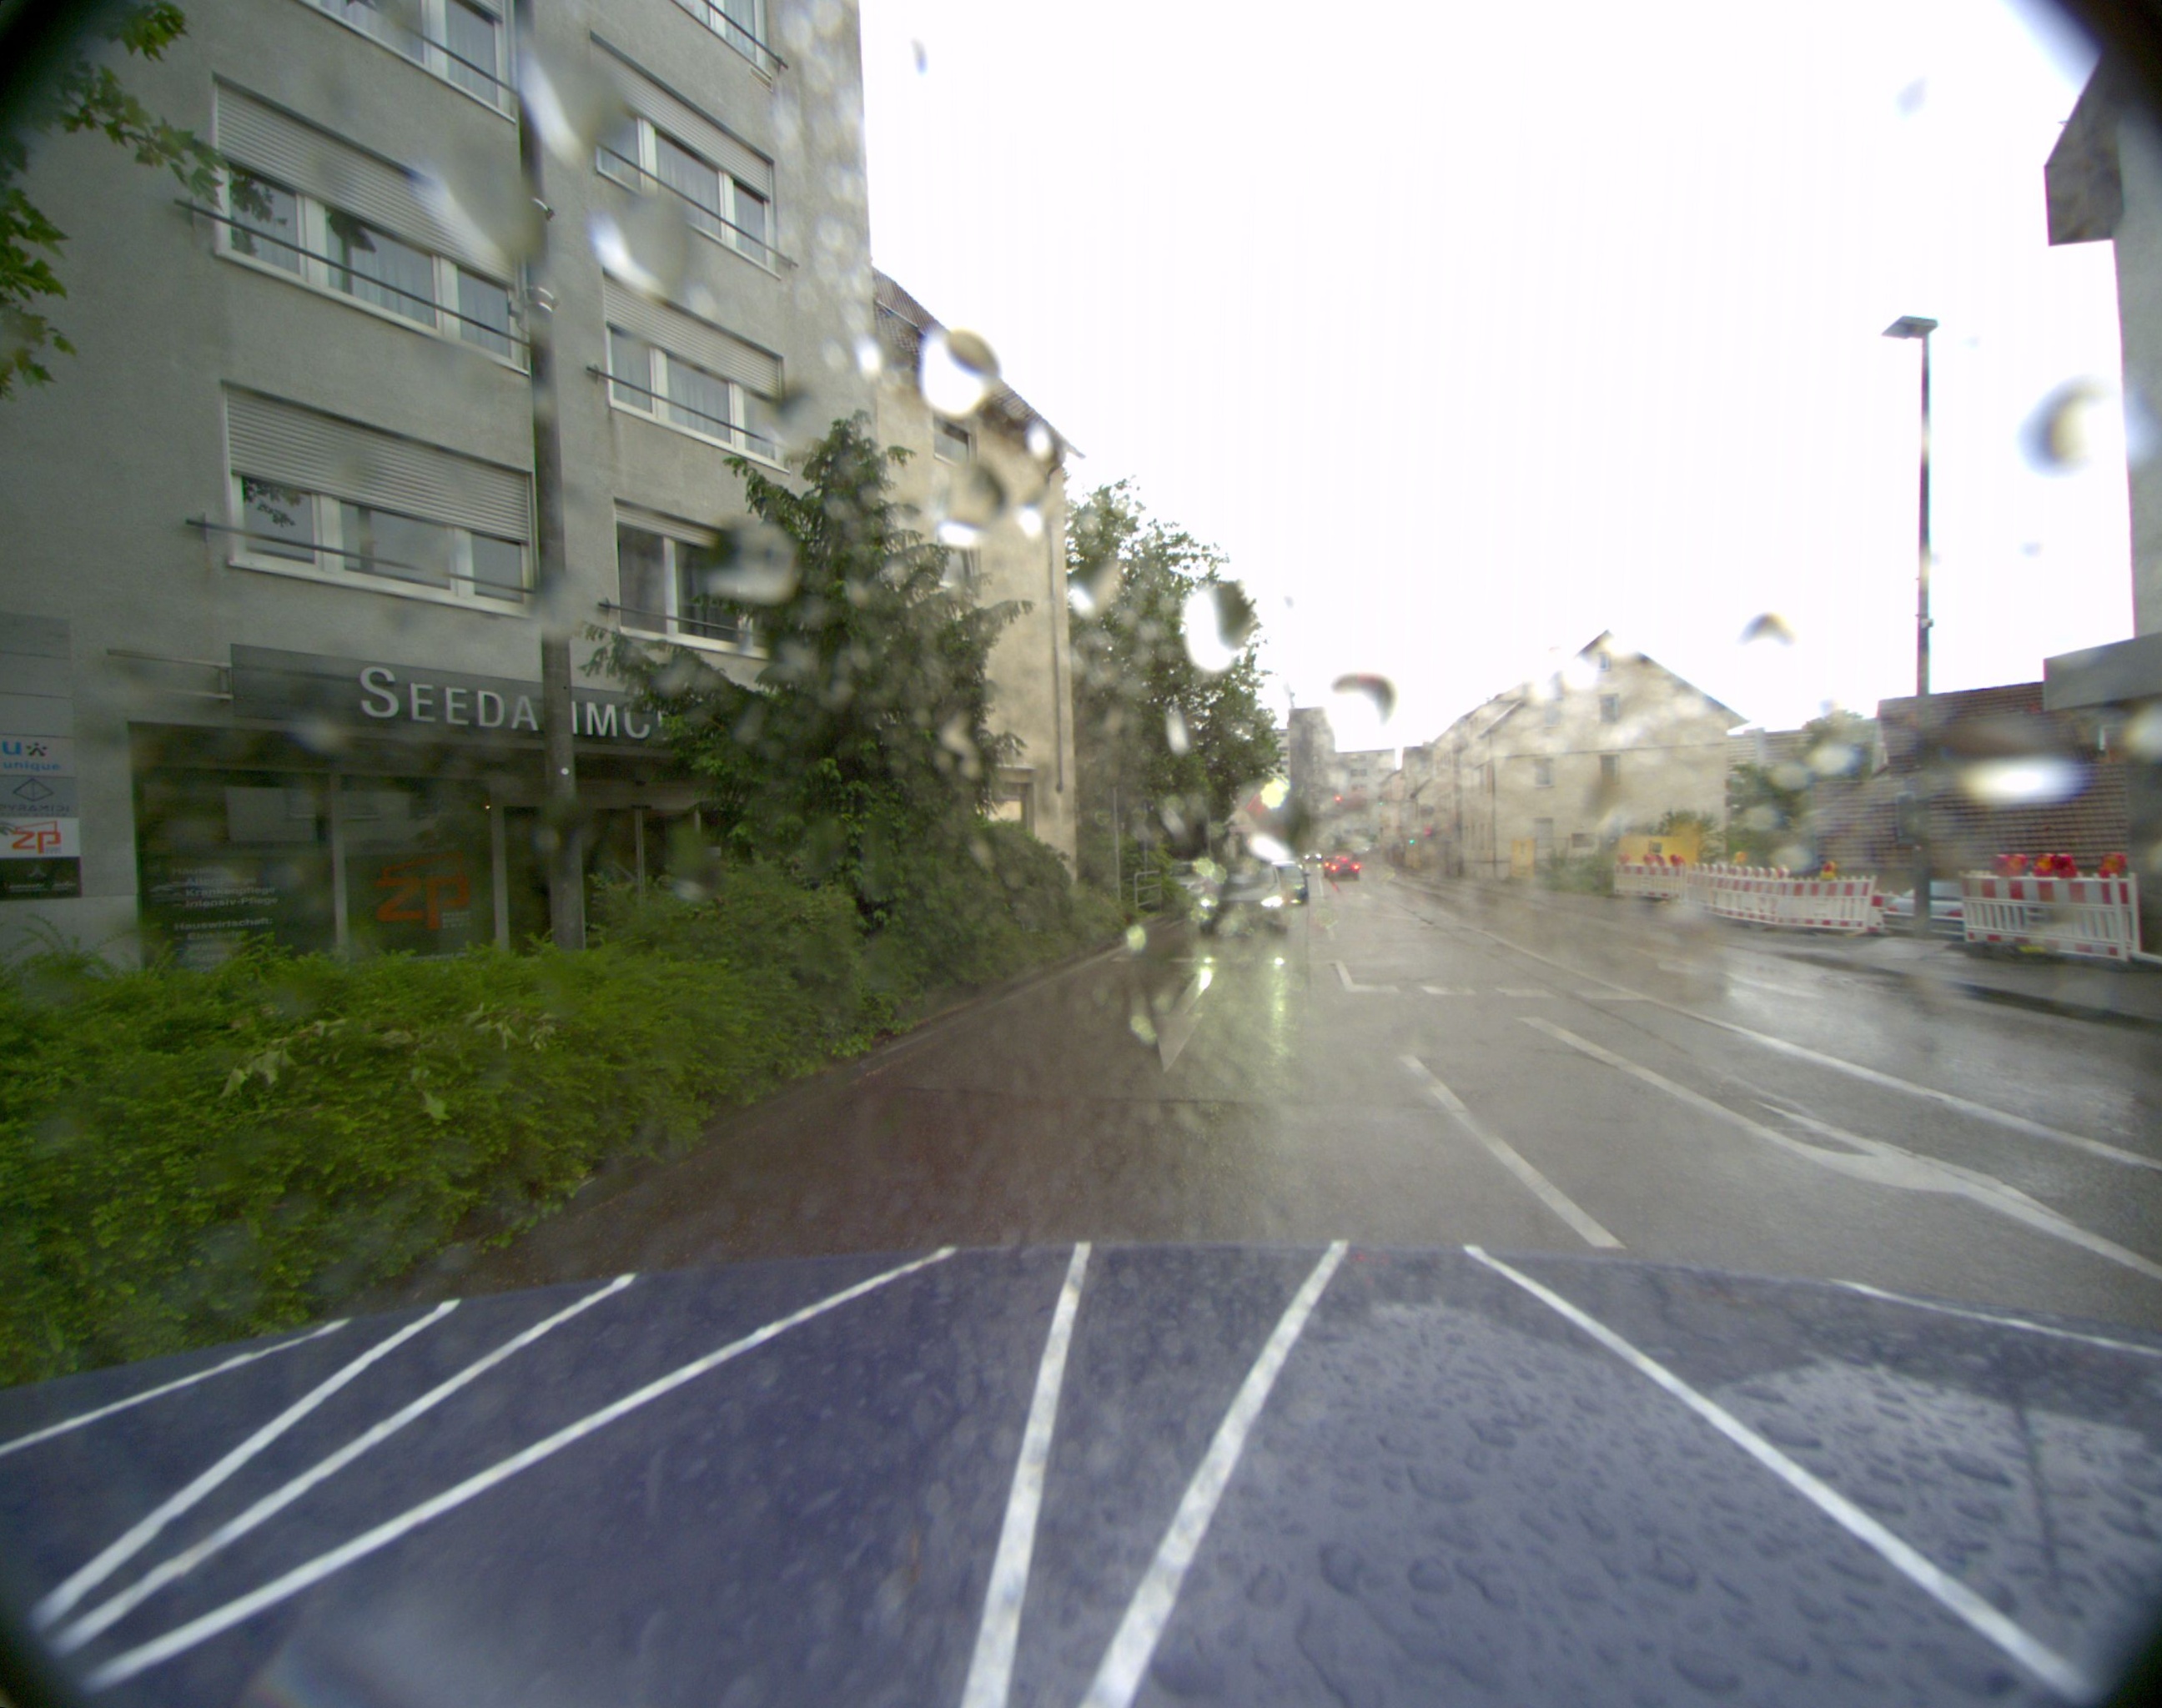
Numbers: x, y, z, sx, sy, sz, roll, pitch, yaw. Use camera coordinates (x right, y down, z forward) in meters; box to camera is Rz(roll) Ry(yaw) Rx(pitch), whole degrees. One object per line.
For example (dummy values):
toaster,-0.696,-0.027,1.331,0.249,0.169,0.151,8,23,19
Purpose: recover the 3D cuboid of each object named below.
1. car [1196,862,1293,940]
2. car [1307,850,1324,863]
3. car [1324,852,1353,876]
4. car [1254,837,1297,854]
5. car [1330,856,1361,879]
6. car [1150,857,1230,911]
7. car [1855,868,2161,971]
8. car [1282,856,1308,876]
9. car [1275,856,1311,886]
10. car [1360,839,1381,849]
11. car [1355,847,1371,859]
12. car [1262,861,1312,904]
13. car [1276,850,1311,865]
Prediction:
car,3.975,1.018,17.936,1.818,1.562,4.281,-3,-1,17
car,29.658,0.290,96.053,1.547,1.525,3.694,-3,0,22
car,18.908,0.744,55.936,1.818,1.635,4.281,-3,-1,16
car,33.450,-1.456,130.813,6.405,2.505,2.681,-4,-1,41
car,17.201,0.830,49.492,1.709,1.375,3.674,-2,0,16
car,4.090,1.024,27.821,1.933,1.770,4.740,-1,0,20
car,16.531,1.120,13.525,3.505,1.382,1.653,6,-1,8
car,16.820,0.903,59.614,1.684,1.452,4.006,-2,0,20
car,10.954,0.859,39.470,1.685,1.413,4.004,-2,0,14
car,45.320,-1.591,118.805,3.725,1.495,1.612,-2,-1,-45
car,36.453,-0.112,98.171,1.817,1.562,4.282,-1,0,21
car,7.606,0.996,27.888,1.639,1.424,3.810,-1,0,17
car,22.565,0.329,80.708,4.008,1.452,1.683,-2,0,-44
